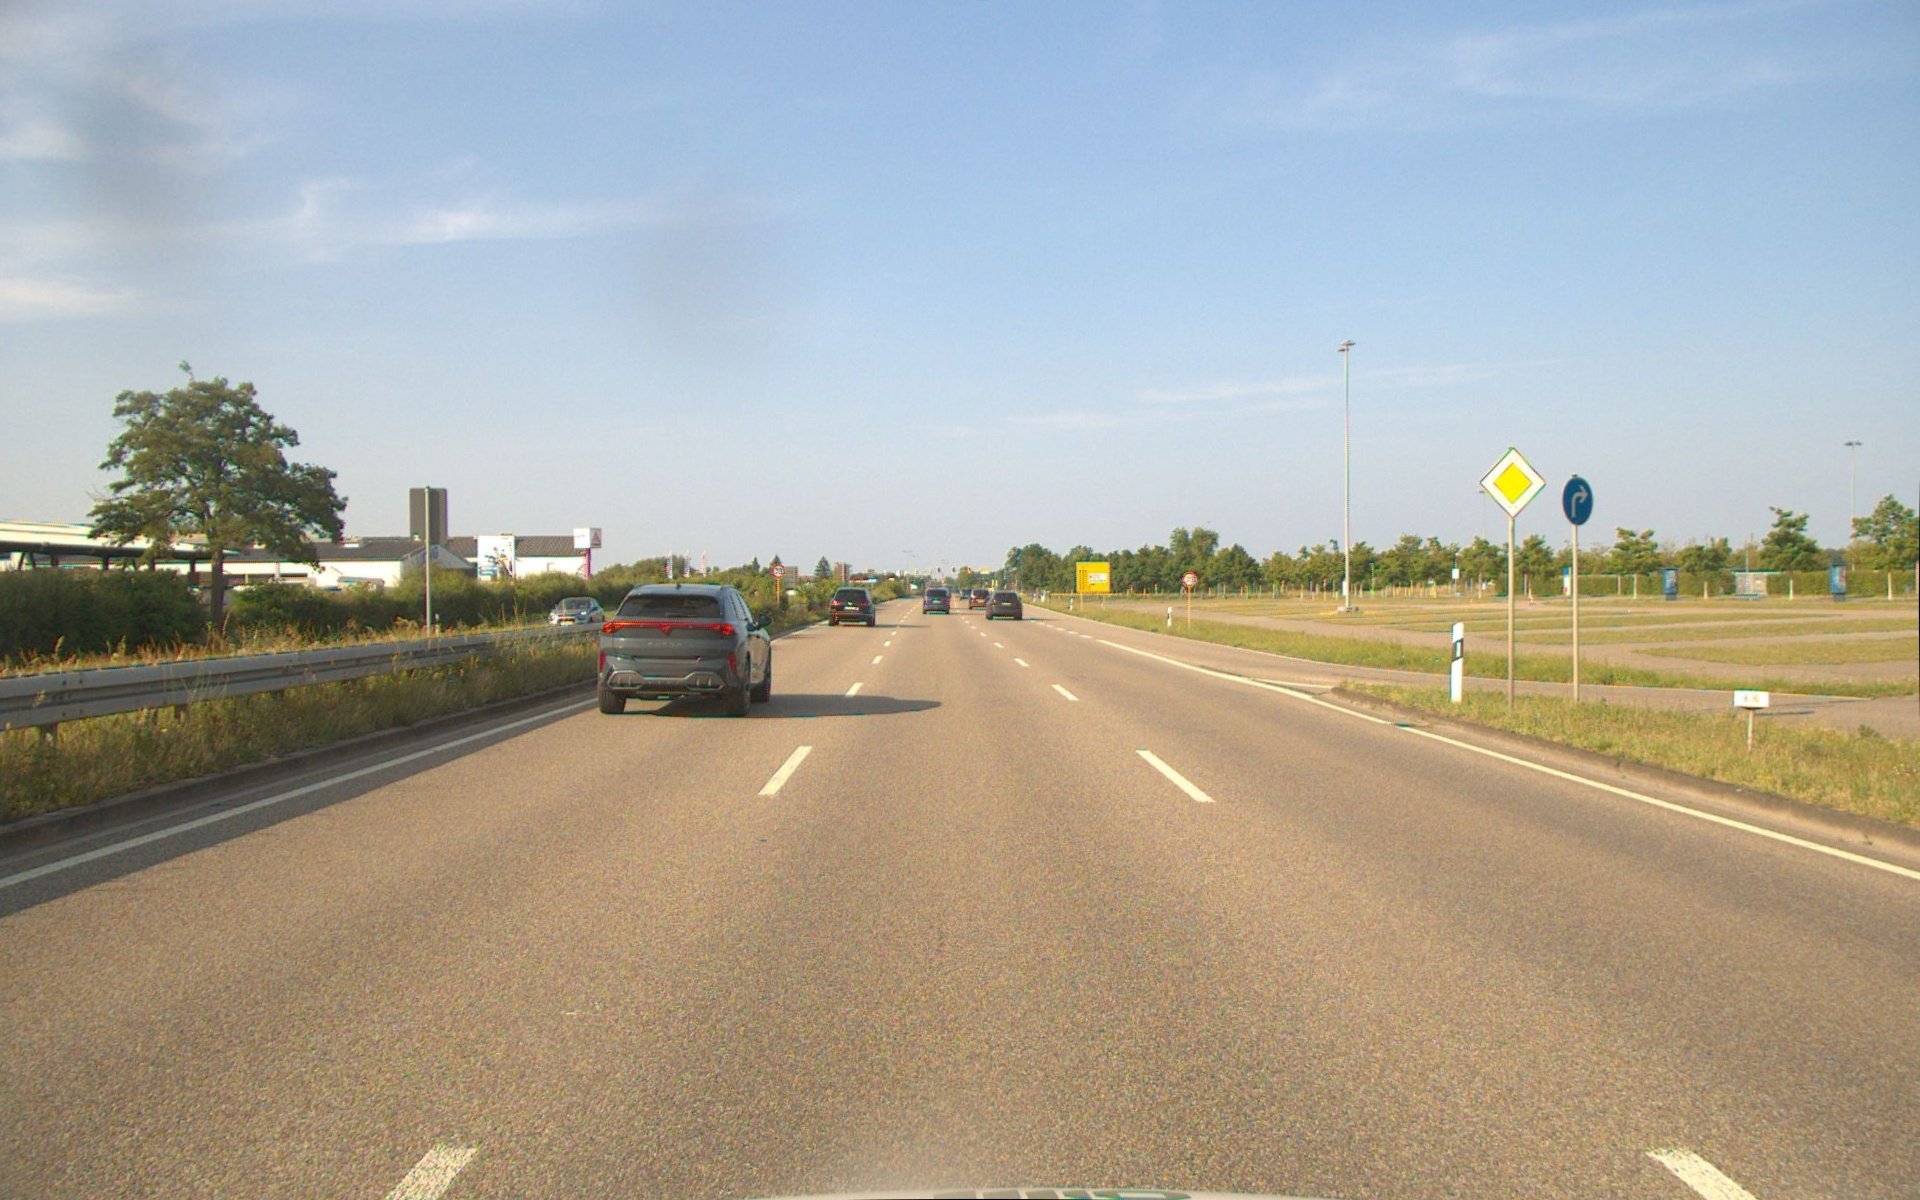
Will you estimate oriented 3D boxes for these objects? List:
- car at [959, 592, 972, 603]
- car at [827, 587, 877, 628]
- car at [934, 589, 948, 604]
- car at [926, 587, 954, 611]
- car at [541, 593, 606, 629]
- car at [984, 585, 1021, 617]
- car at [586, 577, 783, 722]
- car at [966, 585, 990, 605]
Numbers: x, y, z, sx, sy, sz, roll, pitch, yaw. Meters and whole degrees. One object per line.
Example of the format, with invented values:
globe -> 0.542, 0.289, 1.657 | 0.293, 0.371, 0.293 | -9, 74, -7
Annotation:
car -> 0.689, -0.323, 204.061 | 1.472, 1.336, 3.155 | 2, 0, -1
car -> -4.744, 0.308, 73.019 | 1.893, 1.709, 4.400 | 2, 0, -1
car -> -2.196, -0.413, 191.923 | 1.612, 1.758, 3.400 | 1, -1, -1
car -> -1.301, -0.077, 109.432 | 1.776, 1.488, 4.400 | 2, 0, -1
car -> -15.943, 0.446, 68.468 | 1.743, 1.449, 4.000 | -1, 0, 0
car -> 2.379, 0.043, 93.995 | 1.893, 1.709, 4.400 | 2, 0, -1
car -> -3.461, 0.571, 21.570 | 1.808, 1.640, 4.400 | 2, 0, -1
car -> 1.432, -0.398, 131.605 | 1.835, 1.488, 3.980 | 2, 0, -1
